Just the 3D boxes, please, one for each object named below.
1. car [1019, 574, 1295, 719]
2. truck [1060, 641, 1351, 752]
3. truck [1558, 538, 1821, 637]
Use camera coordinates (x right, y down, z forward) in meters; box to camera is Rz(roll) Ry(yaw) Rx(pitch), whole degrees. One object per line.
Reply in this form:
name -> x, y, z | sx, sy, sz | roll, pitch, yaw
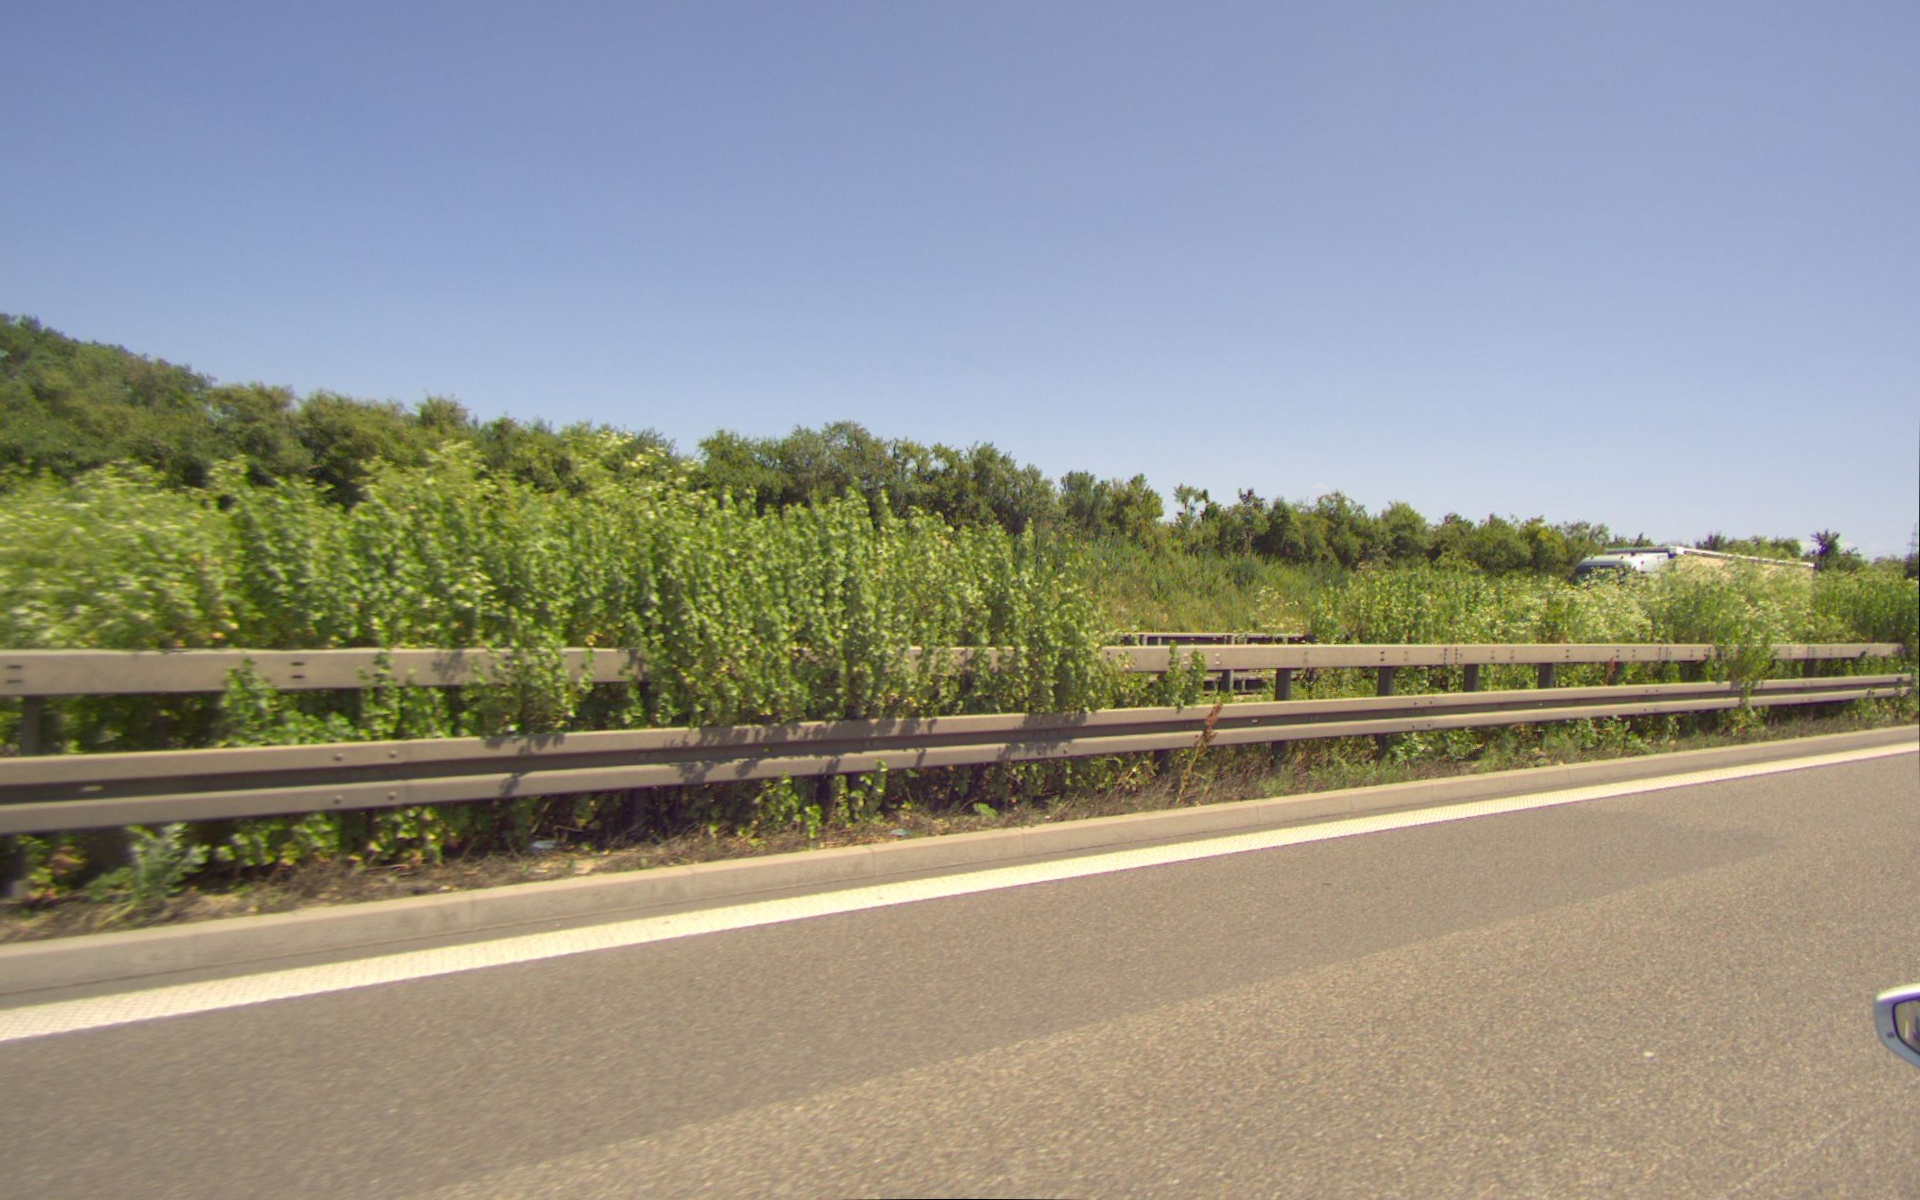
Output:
car -> 2.953, 0.667, 14.910 | 3.820, 1.890, 1.807 | 1, -2, -31
truck -> 6.536, 2.346, 26.256 | 7.749, 2.511, 2.665 | 1, -2, -30
truck -> 30.836, -0.306, 41.852 | 16.847, 3.565, 2.660 | 1, 0, -32
